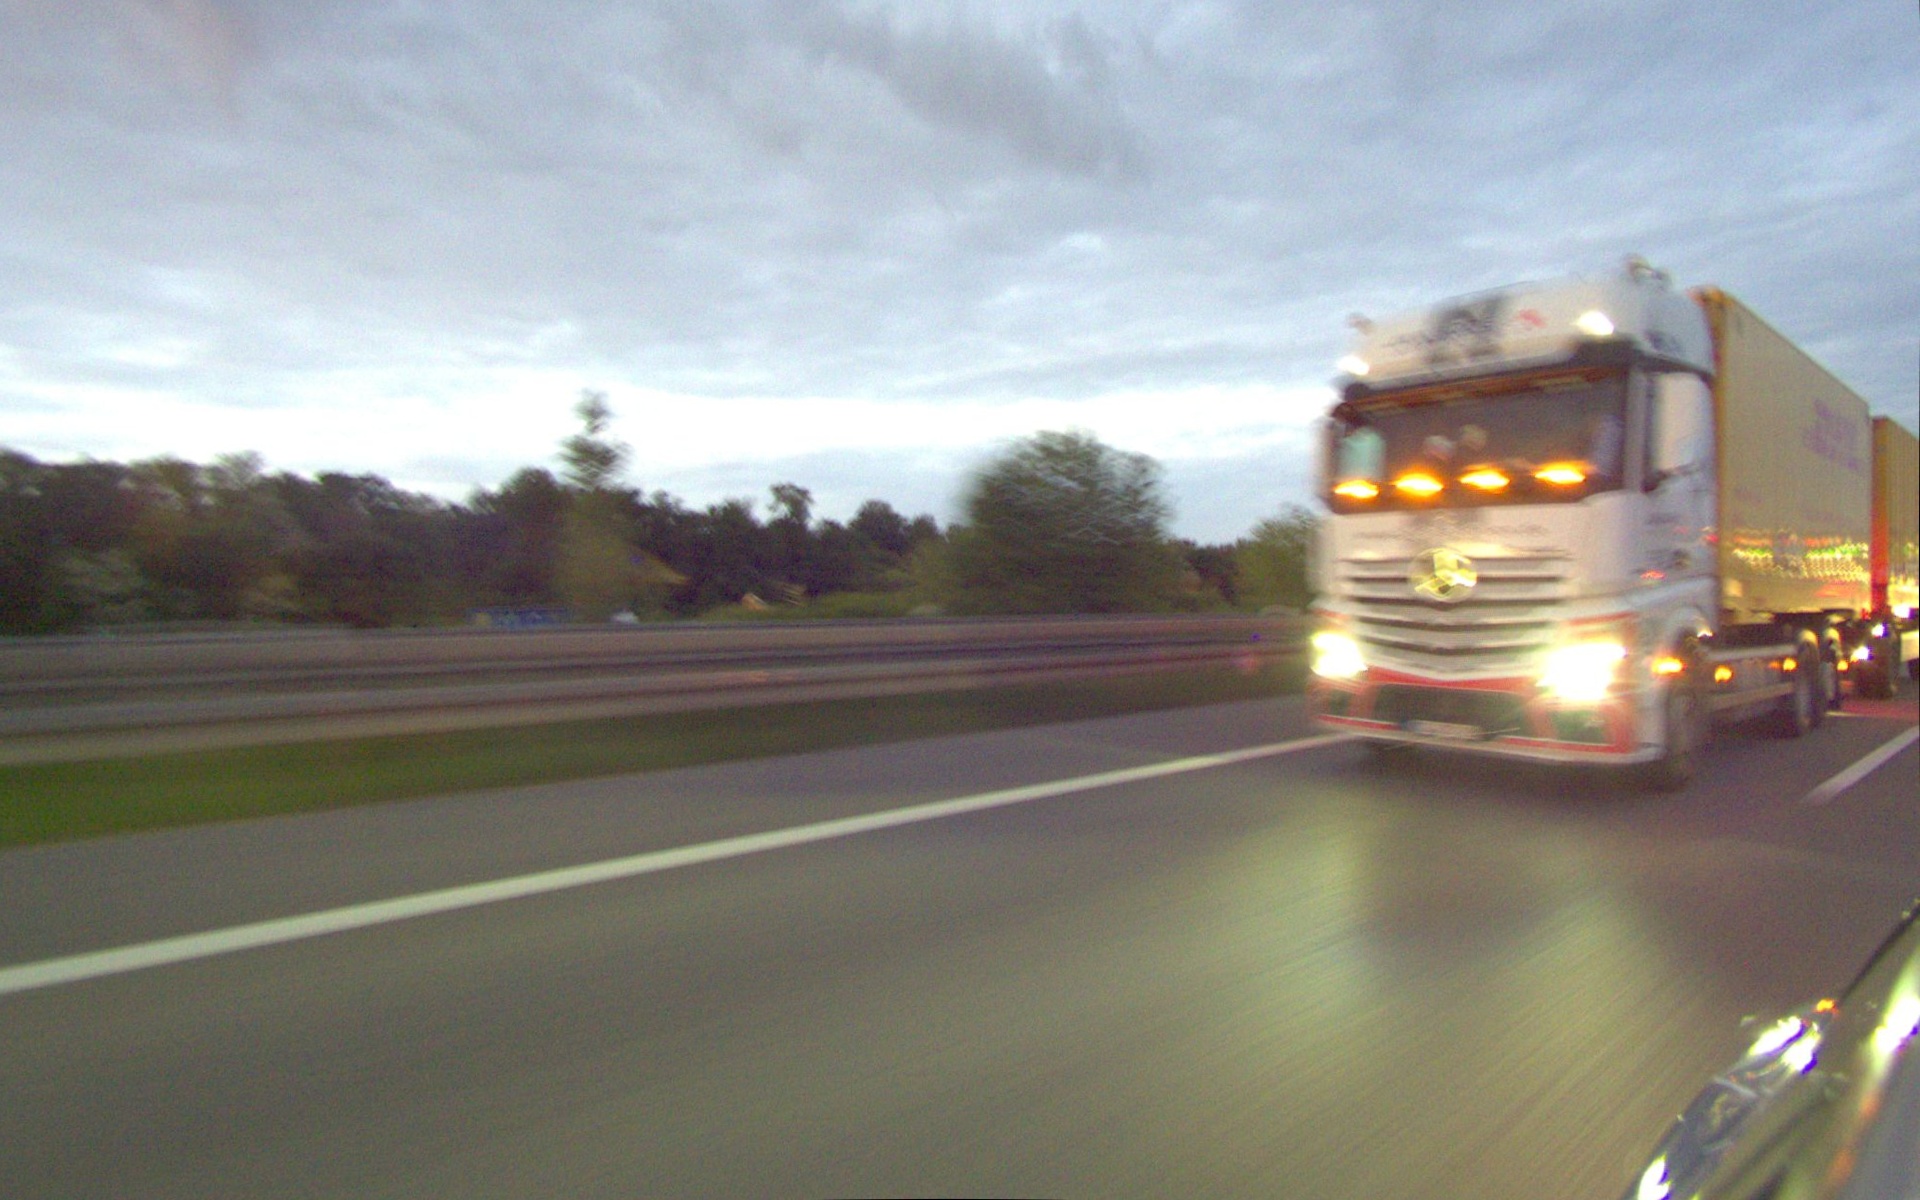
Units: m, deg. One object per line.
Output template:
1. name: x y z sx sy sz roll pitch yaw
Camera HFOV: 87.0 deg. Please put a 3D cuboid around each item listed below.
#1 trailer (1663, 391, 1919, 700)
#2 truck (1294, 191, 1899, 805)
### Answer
1. trailer: 15.027 -0.747 17.336 8.673 4.123 2.727 0 0 -40
2. truck: 7.722 -0.715 11.181 10.334 4.123 2.695 0 0 -40
